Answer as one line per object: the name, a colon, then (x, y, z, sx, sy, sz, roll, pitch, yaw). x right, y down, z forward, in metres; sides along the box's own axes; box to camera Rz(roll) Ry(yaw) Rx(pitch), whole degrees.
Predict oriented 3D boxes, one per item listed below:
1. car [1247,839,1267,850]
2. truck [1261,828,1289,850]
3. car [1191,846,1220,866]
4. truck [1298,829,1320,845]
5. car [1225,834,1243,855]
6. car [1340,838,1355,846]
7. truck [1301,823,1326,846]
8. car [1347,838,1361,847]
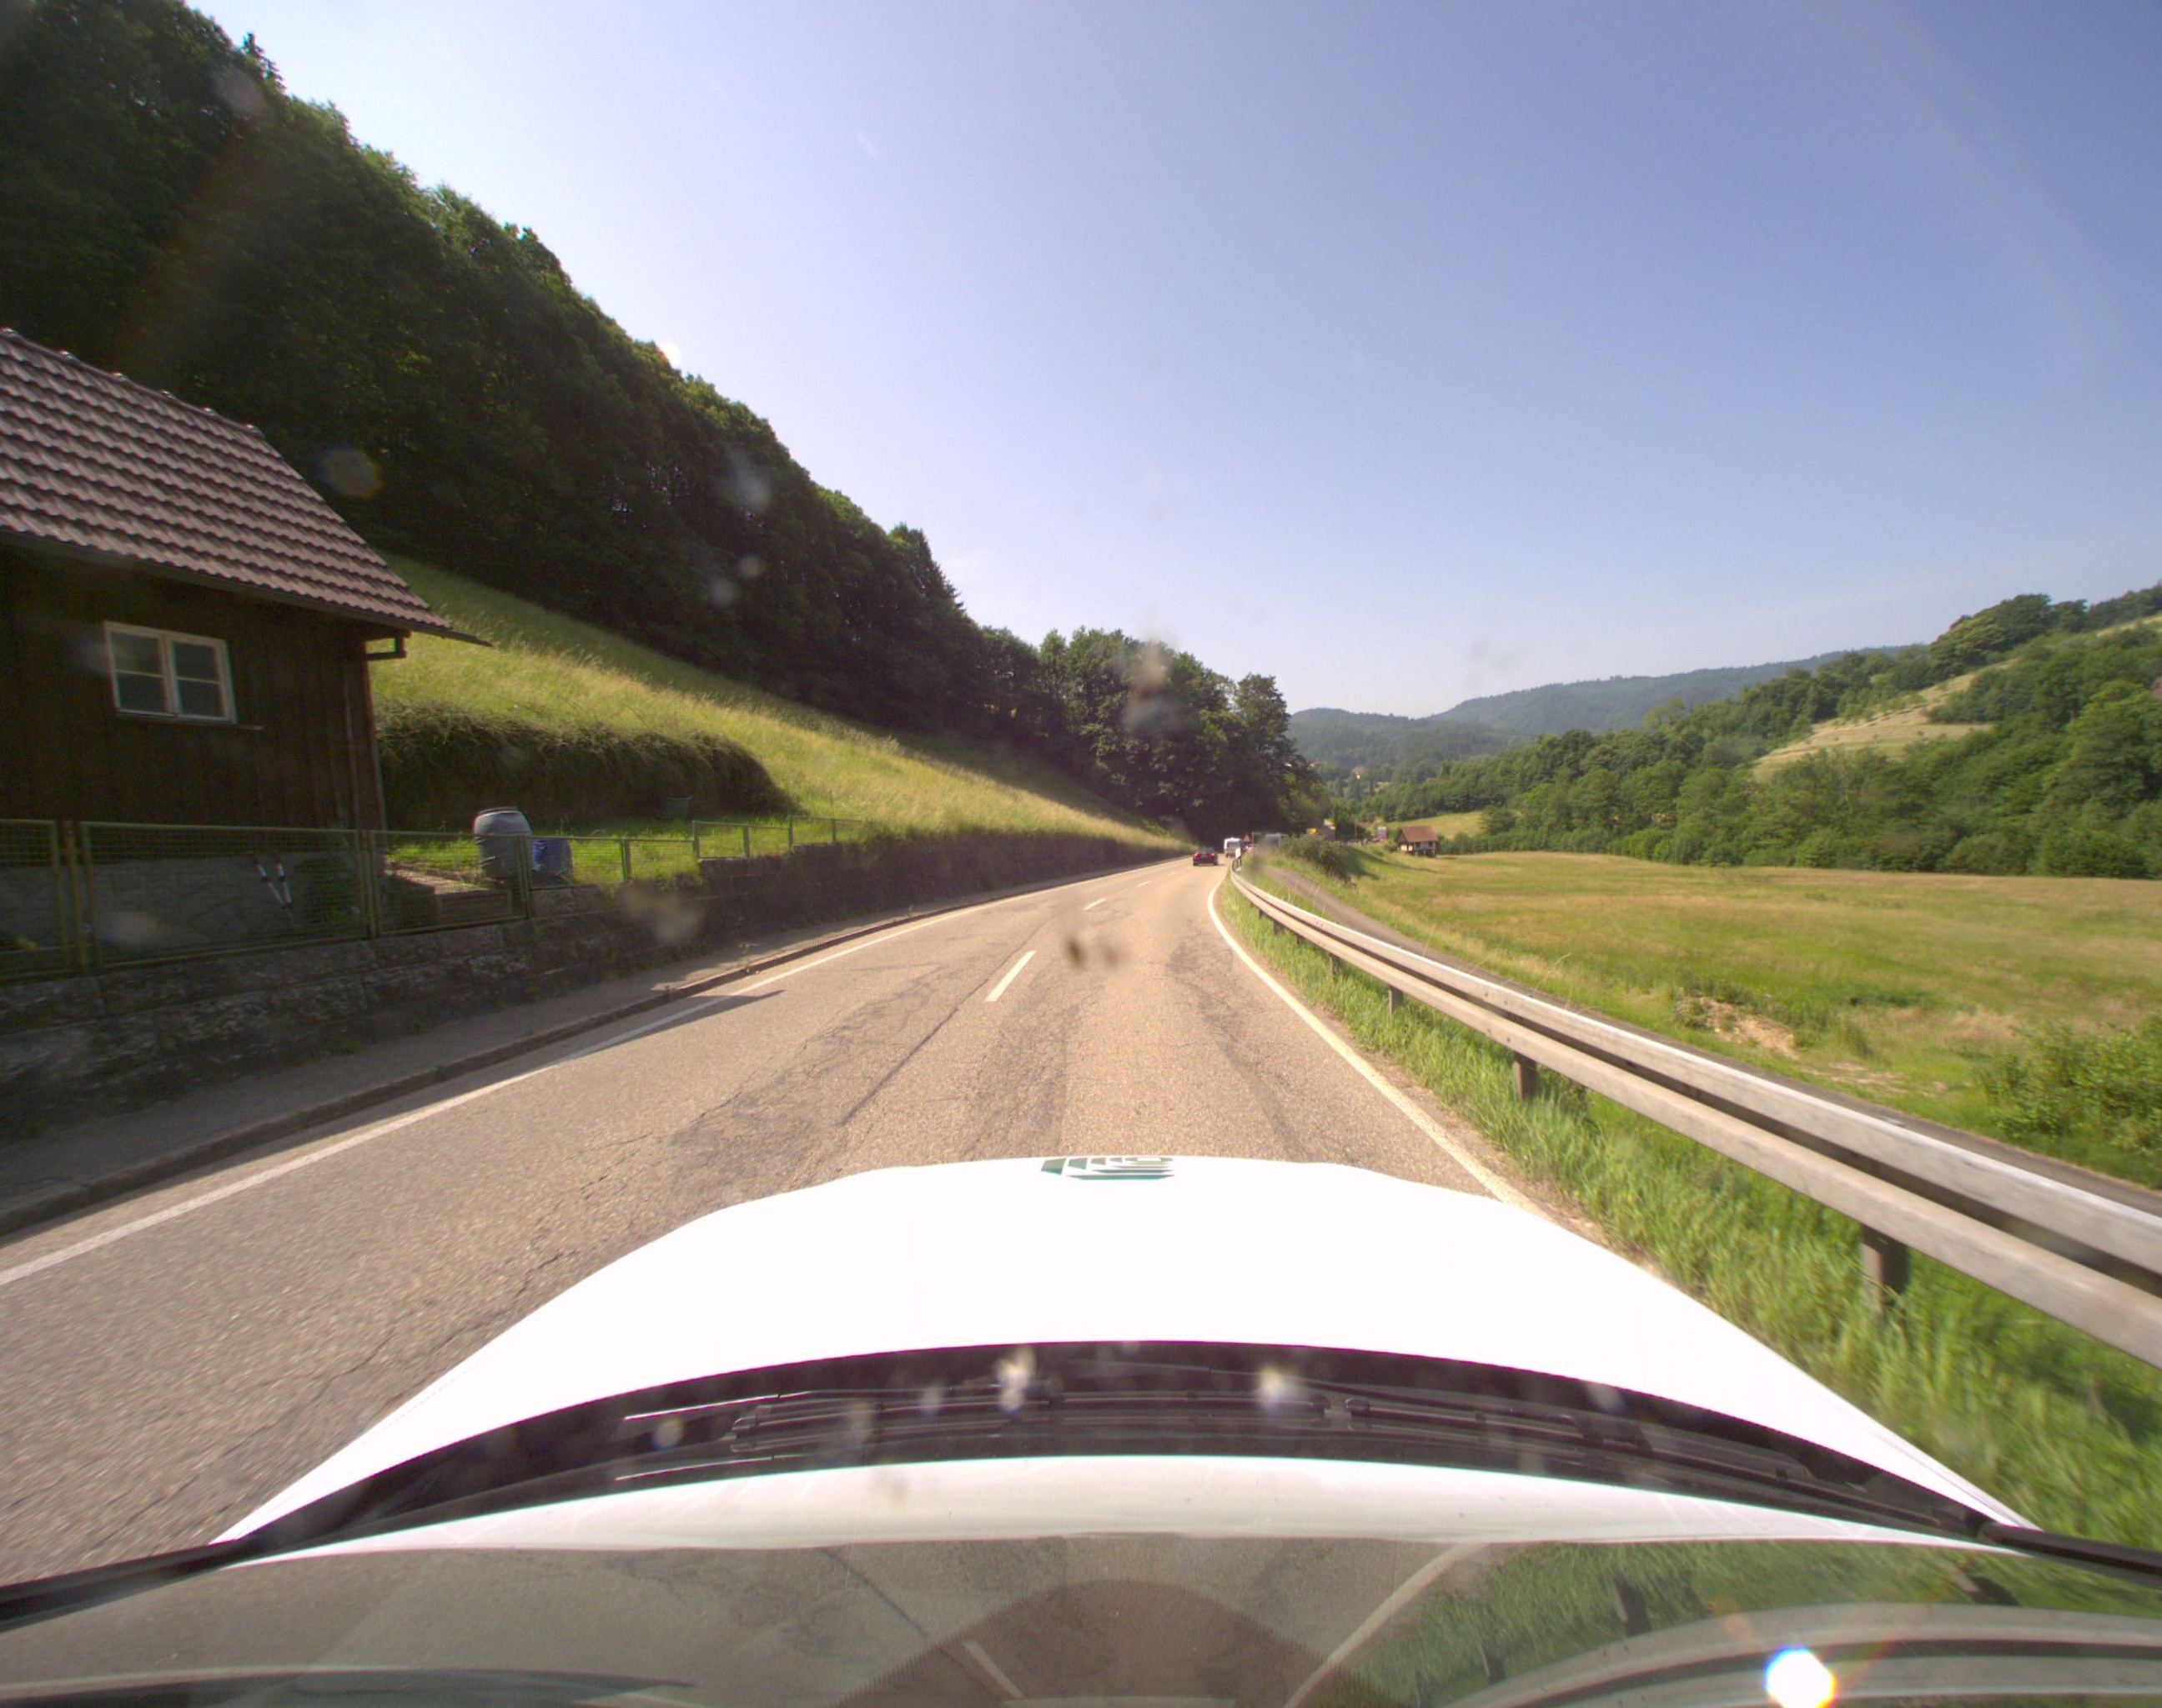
car: (23.599, -1.303, 109.216, 1.976, 1.484, 4.022, 1, 2, 22)
truck: (28.989, -2.276, 121.409, 2.766, 2.997, 6.908, 2, 2, 24)
car: (9.379, 0.111, 60.972, 1.758, 1.335, 3.782, -1, 2, 15)
truck: (39.594, -2.925, 141.411, 2.216, 2.804, 6.270, 0, 0, 29)
car: (17.764, -1.154, 94.981, 1.981, 2.352, 4.929, -1, 2, 10)
car: (52.759, -2.464, 161.199, 1.888, 1.485, 4.026, 2, 3, 31)
truck: (45.361, -3.762, 158.766, 3.158, 4.396, 6.613, 1, 2, 30)
car: (56.891, -2.380, 169.660, 1.974, 1.925, 4.026, 1, 2, 33)
